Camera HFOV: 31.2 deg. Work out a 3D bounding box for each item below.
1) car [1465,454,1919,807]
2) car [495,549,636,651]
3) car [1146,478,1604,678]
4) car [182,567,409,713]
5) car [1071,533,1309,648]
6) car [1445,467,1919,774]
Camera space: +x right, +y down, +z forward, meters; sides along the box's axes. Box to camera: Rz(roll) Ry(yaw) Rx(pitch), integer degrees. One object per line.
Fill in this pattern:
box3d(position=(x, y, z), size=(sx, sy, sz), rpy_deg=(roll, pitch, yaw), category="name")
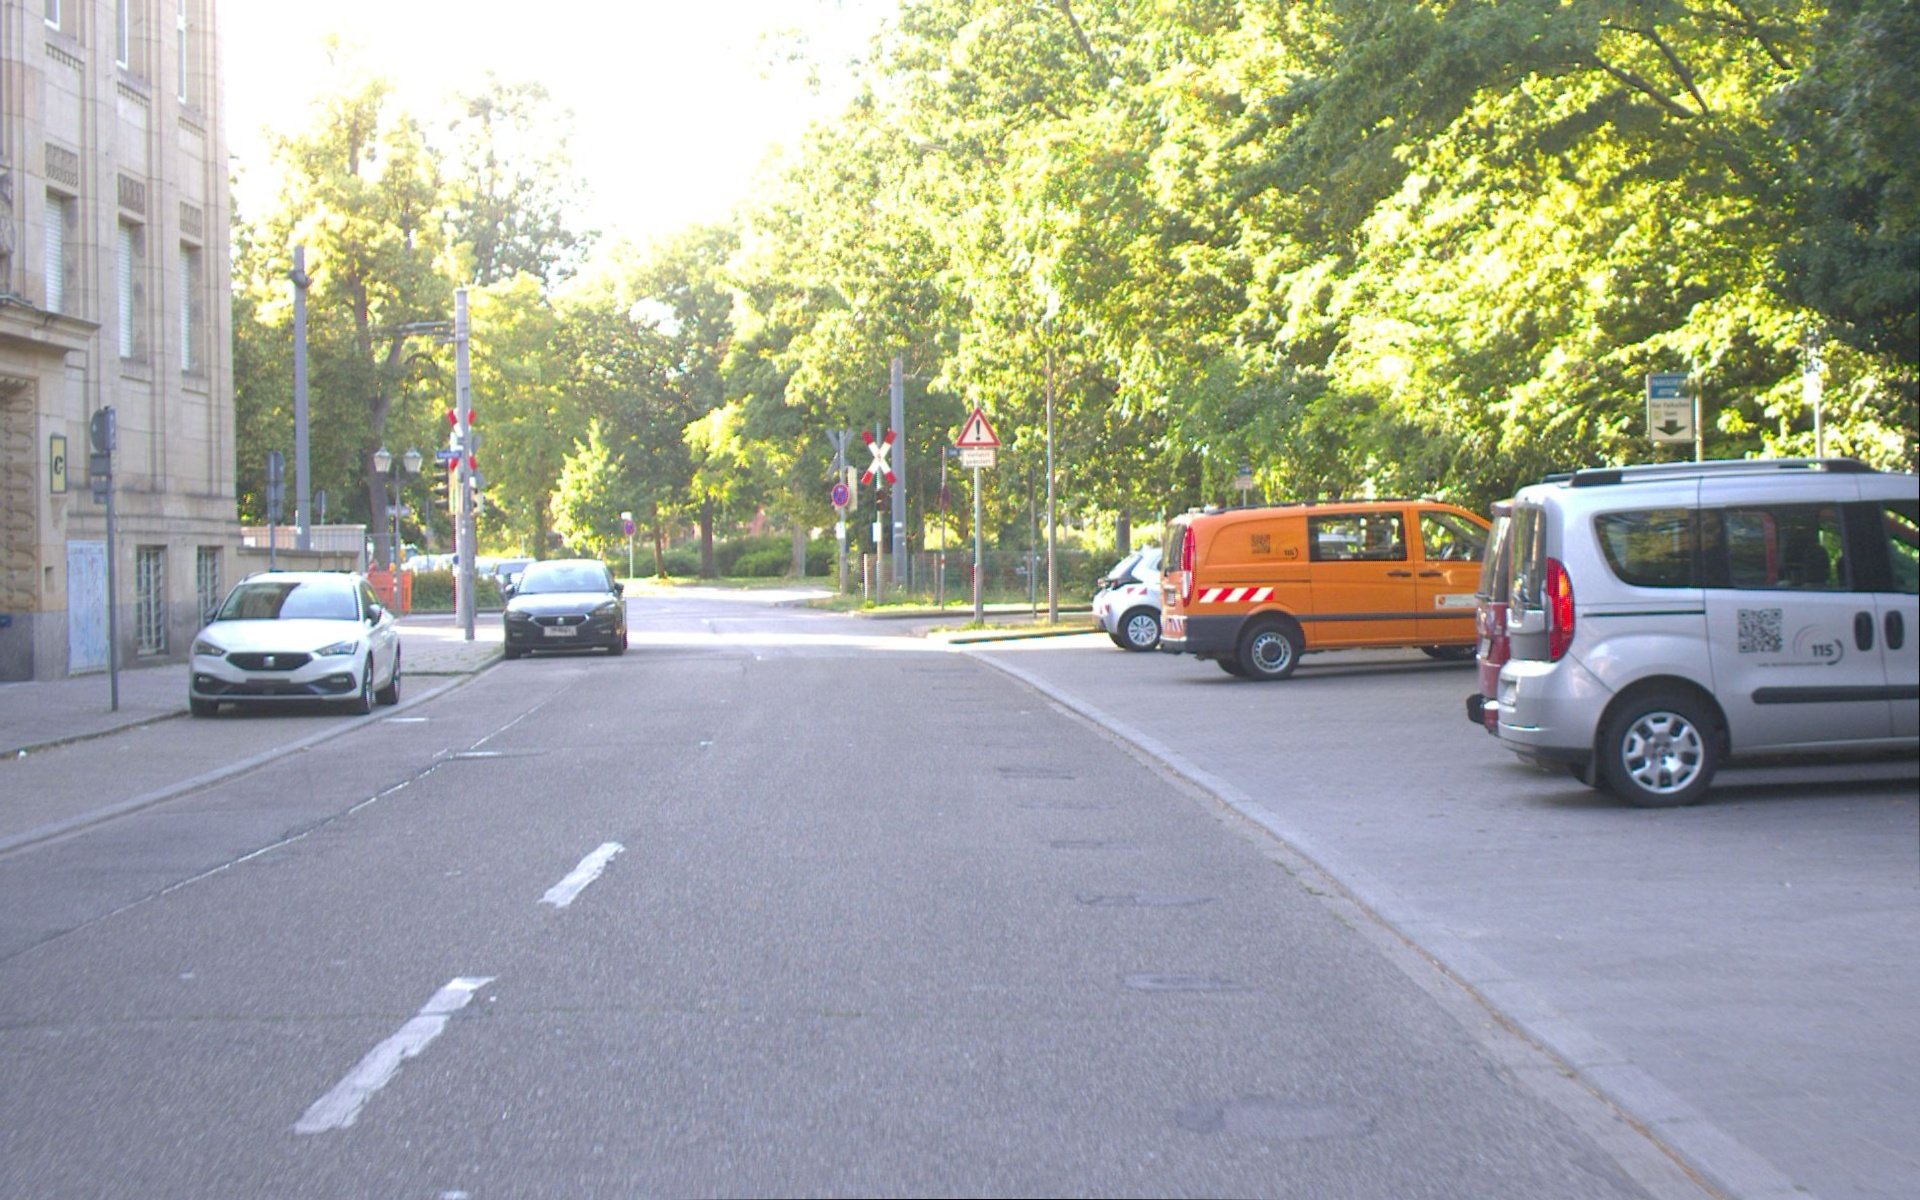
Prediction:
box3d(position=(5.194, 0.123, 19.820), size=(4.229, 1.853, 2.000), rpy_deg=(-2, 0, 1), category="car")
box3d(position=(-6.071, -0.034, 53.286), size=(1.878, 1.461, 4.374), rpy_deg=(-1, 1, -3), category="car")
box3d(position=(4.686, -0.261, 39.177), size=(4.817, 2.007, 1.802), rpy_deg=(-3, 1, -6), category="car")
box3d(position=(-6.869, 0.374, 35.918), size=(1.727, 1.392, 4.374), rpy_deg=(-1, 1, -3), category="car")
box3d(position=(3.307, -0.147, 49.680), size=(3.143, 1.498, 1.541), rpy_deg=(-3, 1, -6), category="car")
box3d(position=(5.312, 0.094, 22.446), size=(4.024, 1.829, 1.614), rpy_deg=(-2, 1, 1), category="car")
